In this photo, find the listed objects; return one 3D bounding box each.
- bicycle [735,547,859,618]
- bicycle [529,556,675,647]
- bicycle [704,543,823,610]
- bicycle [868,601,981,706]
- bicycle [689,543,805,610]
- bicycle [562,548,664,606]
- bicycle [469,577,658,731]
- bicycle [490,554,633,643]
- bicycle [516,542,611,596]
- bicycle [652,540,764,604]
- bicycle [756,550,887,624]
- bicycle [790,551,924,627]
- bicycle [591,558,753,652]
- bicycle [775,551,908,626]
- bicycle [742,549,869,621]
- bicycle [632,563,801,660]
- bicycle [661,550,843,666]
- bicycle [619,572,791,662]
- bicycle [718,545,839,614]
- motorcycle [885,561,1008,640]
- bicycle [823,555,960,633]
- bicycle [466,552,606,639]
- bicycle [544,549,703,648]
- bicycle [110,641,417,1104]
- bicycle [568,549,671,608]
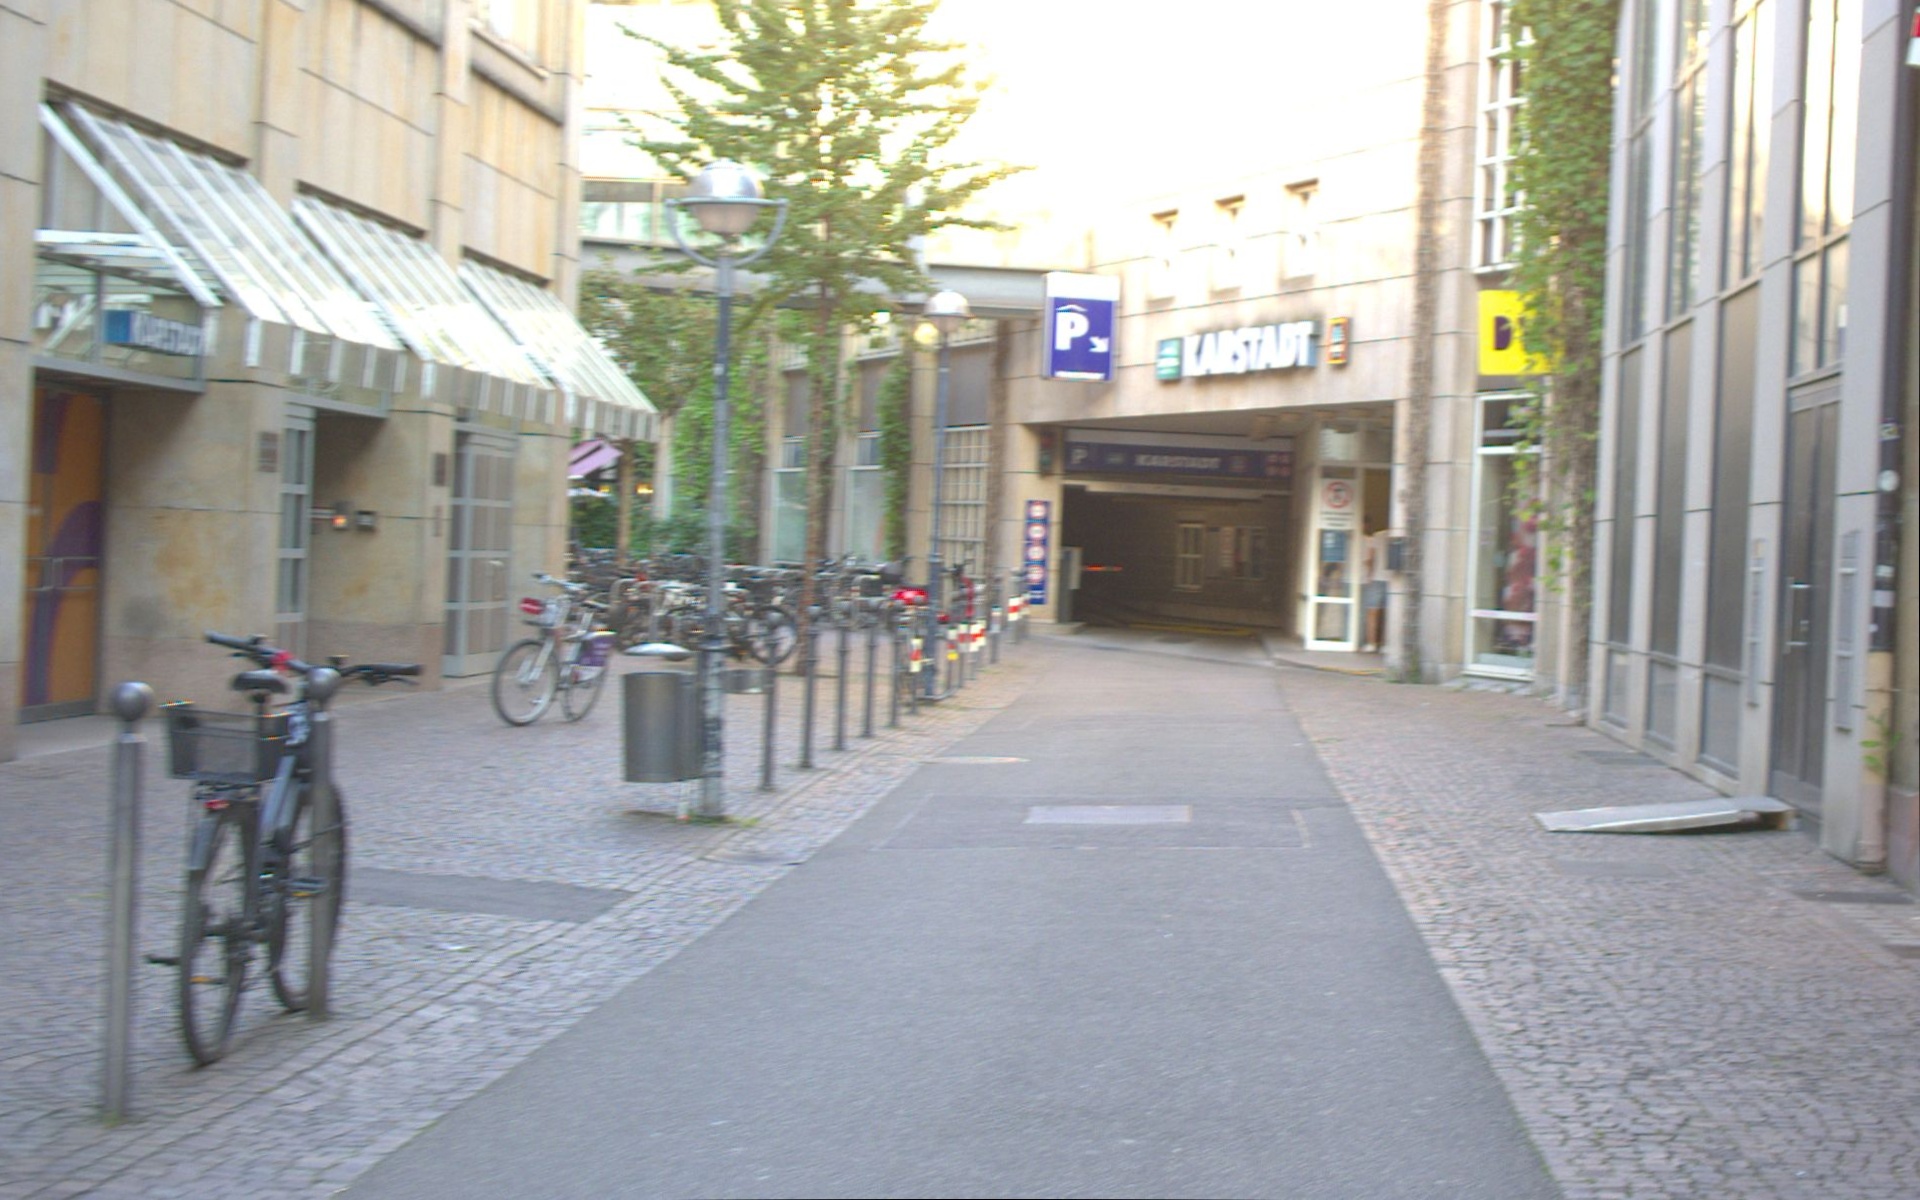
[{"bbox_3d":[-2.787,-0.298,58.727,1.993,1.178,0.694,0,1,-15],"label":"bicycle"},{"bbox_3d":[-4.979,0.017,47.797,1.912,1.178,0.696,2,1,-12],"label":"bicycle"},{"bbox_3d":[-3.480,-0.417,60.906,1.993,1.178,0.694,0,1,-15],"label":"bicycle"},{"bbox_3d":[-0.331,0.499,32.935,0.505,0.963,1.693,2,1,19],"label":"bicycle"},{"bbox_3d":[-3.847,-0.428,62.012,1.993,1.178,0.694,0,1,-15],"label":"bicycle"},{"bbox_3d":[-7.181,-0.469,71.139,1.993,1.178,0.694,0,1,-15],"label":"bicycle"},{"bbox_3d":[-3.005,0.392,26.212,0.694,1.108,1.775,2,1,19],"label":"bicycle"},{"bbox_3d":[-5.637,-0.024,48.590,1.912,1.178,0.696,2,1,-12],"label":"bicycle"},{"bbox_3d":[-8.739,-0.679,75.762,1.993,1.178,0.694,0,1,-15],"label":"bicycle"},{"bbox_3d":[-4.729,-0.530,64.448,1.993,1.178,0.694,0,1,-15],"label":"bicycle"},{"bbox_3d":[-2.268,-0.210,56.238,1.993,1.178,0.803,0,1,-15],"label":"bicycle"},{"bbox_3d":[-1.623,-0.174,54.166,1.993,1.178,0.696,0,1,-15],"label":"bicycle"},{"bbox_3d":[-3.610,0.055,43.081,1.912,1.098,0.696,2,1,-12],"label":"bicycle"},{"bbox_3d":[-1.898,-0.185,55.072,1.993,1.178,0.803,0,1,-15],"label":"bicycle"},{"bbox_3d":[-2.600,-0.253,57.723,1.993,1.178,0.803,0,1,-15],"label":"bicycle"},{"bbox_3d":[-2.965,0.137,41.841,1.912,1.098,0.696,2,1,-16],"label":"bicycle"},{"bbox_3d":[-2.394,0.088,39.456,1.912,1.256,0.809,2,1,-16],"label":"bicycle"},{"bbox_3d":[-3.036,0.205,40.925,1.912,0.991,0.696,2,1,-16],"label":"bicycle"},{"bbox_3d":[-3.148,-0.361,59.640,1.993,1.178,0.694,0,1,-15],"label":"bicycle"},{"bbox_3d":[-0.201,0.007,51.515,1.745,1.151,0.595,0,1,-12],"label":"motorcycle"},{"bbox_3d":[-1.059,-0.093,53.211,1.993,1.178,0.696,0,1,-15],"label":"bicycle"},{"bbox_3d":[-6.127,-0.066,49.673,1.912,1.178,0.696,2,1,-12],"label":"bicycle"},{"bbox_3d":[-4.310,-0.022,44.039,1.912,1.178,0.696,2,1,-12],"label":"bicycle"},{"bbox_3d":[-1.960,0.719,9.889,0.410,1.128,1.931,3,1,1],"label":"bicycle"},{"bbox_3d":[-6.966,-0.434,70.309,1.993,1.178,0.694,0,1,-15],"label":"bicycle"}]
